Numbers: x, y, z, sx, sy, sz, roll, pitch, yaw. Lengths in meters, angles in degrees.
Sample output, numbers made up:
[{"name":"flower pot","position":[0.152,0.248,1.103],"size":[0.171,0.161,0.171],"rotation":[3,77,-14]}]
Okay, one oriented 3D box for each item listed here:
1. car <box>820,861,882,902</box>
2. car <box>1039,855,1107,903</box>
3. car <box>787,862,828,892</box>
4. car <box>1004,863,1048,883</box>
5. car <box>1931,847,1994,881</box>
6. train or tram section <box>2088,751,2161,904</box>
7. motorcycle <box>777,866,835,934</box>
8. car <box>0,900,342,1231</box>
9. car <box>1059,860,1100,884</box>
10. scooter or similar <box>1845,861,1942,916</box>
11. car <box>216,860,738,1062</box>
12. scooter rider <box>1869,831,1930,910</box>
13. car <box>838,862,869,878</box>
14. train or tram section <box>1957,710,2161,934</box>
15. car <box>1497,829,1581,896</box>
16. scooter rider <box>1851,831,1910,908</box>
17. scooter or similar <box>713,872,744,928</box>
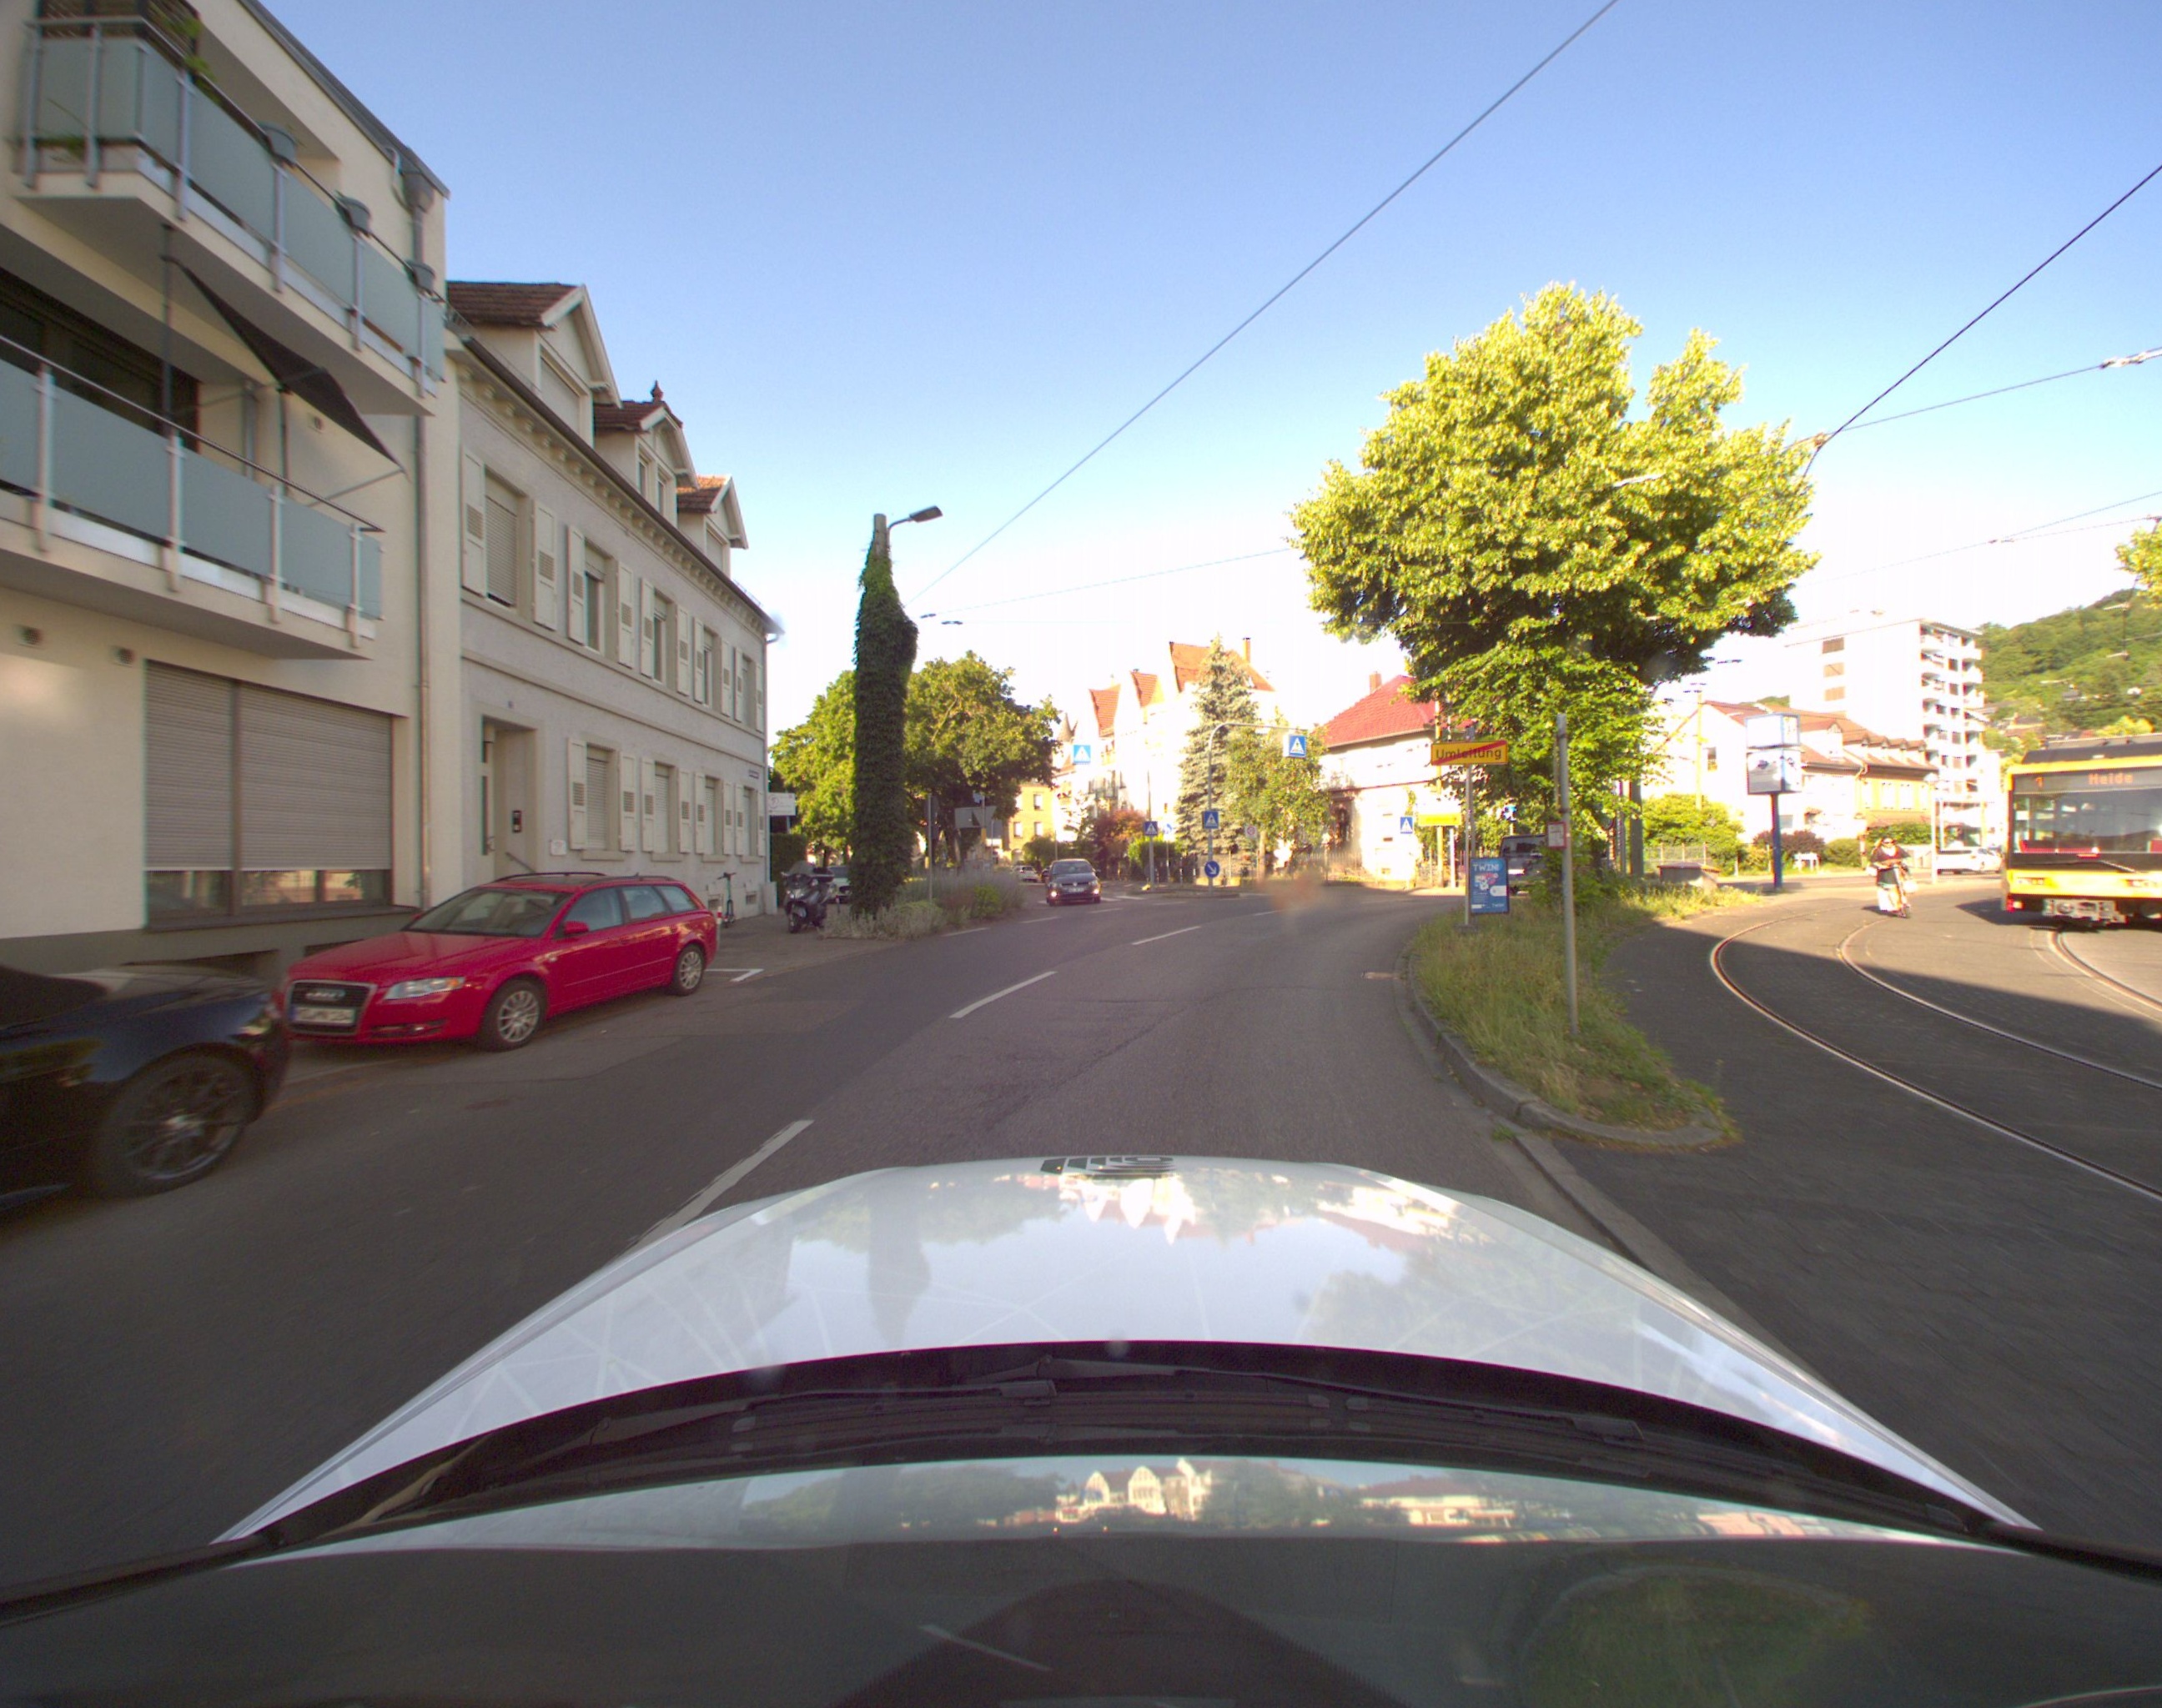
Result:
[{"name":"car","position":[-9.192,1.063,32.391],"size":[1.817,1.537,3.878],"rotation":[0,-1,-25]},{"name":"car","position":[-0.350,0.791,26.885],"size":[1.712,1.403,3.727],"rotation":[-3,-1,-8]},{"name":"car","position":[-16.020,1.305,47.579],"size":[1.943,1.663,4.474],"rotation":[0,-1,-23]},{"name":"car","position":[-4.806,1.630,70.414],"size":[2.349,1.596,4.893],"rotation":[0,-1,-22]},{"name":"car","position":[46.382,0.517,42.842],"size":[4.020,1.717,1.977],"rotation":[1,-1,-39]},{"name":"train or tram section","position":[29.632,-0.679,21.048],"size":[9.945,3.555,2.759],"rotation":[-1,-1,-29]},{"name":"motorcycle","position":[-5.983,0.959,17.869],"size":[0.932,1.357,2.553],"rotation":[0,-1,-13]},{"name":"car","position":[-5.265,0.884,2.813],"size":[1.658,1.273,4.026],"rotation":[1,-1,1]},{"name":"car","position":[-0.147,1.210,55.024],"size":[1.995,1.596,3.983],"rotation":[0,-1,-12]},{"name":"scooter or similar","position":[17.901,0.733,17.985],"size":[0.681,1.136,1.405],"rotation":[-1,0,-3]},{"name":"car","position":[-5.605,0.825,8.517],"size":[1.701,1.466,4.599],"rotation":[1,0,5]},{"name":"scooter rider","position":[17.865,0.353,17.782],"size":[0.650,1.672,0.608],"rotation":[-2,-1,0]},{"name":"car","position":[-29.696,2.098,106.399],"size":[2.358,2.041,4.874],"rotation":[1,-1,-36]},{"name":"train or tram section","position":[20.993,-0.548,16.125],"size":[9.949,3.555,2.758],"rotation":[-1,-1,-30]},{"name":"car","position":[15.088,0.246,26.719],"size":[1.974,2.014,4.025],"rotation":[-1,0,35]},{"name":"scooter rider","position":[17.874,0.350,18.218],"size":[0.650,1.672,0.608],"rotation":[-2,-1,0]},{"name":"scooter or similar","position":[-8.089,1.027,18.735],"size":[0.509,1.229,1.531],"rotation":[0,-1,-18]}]
